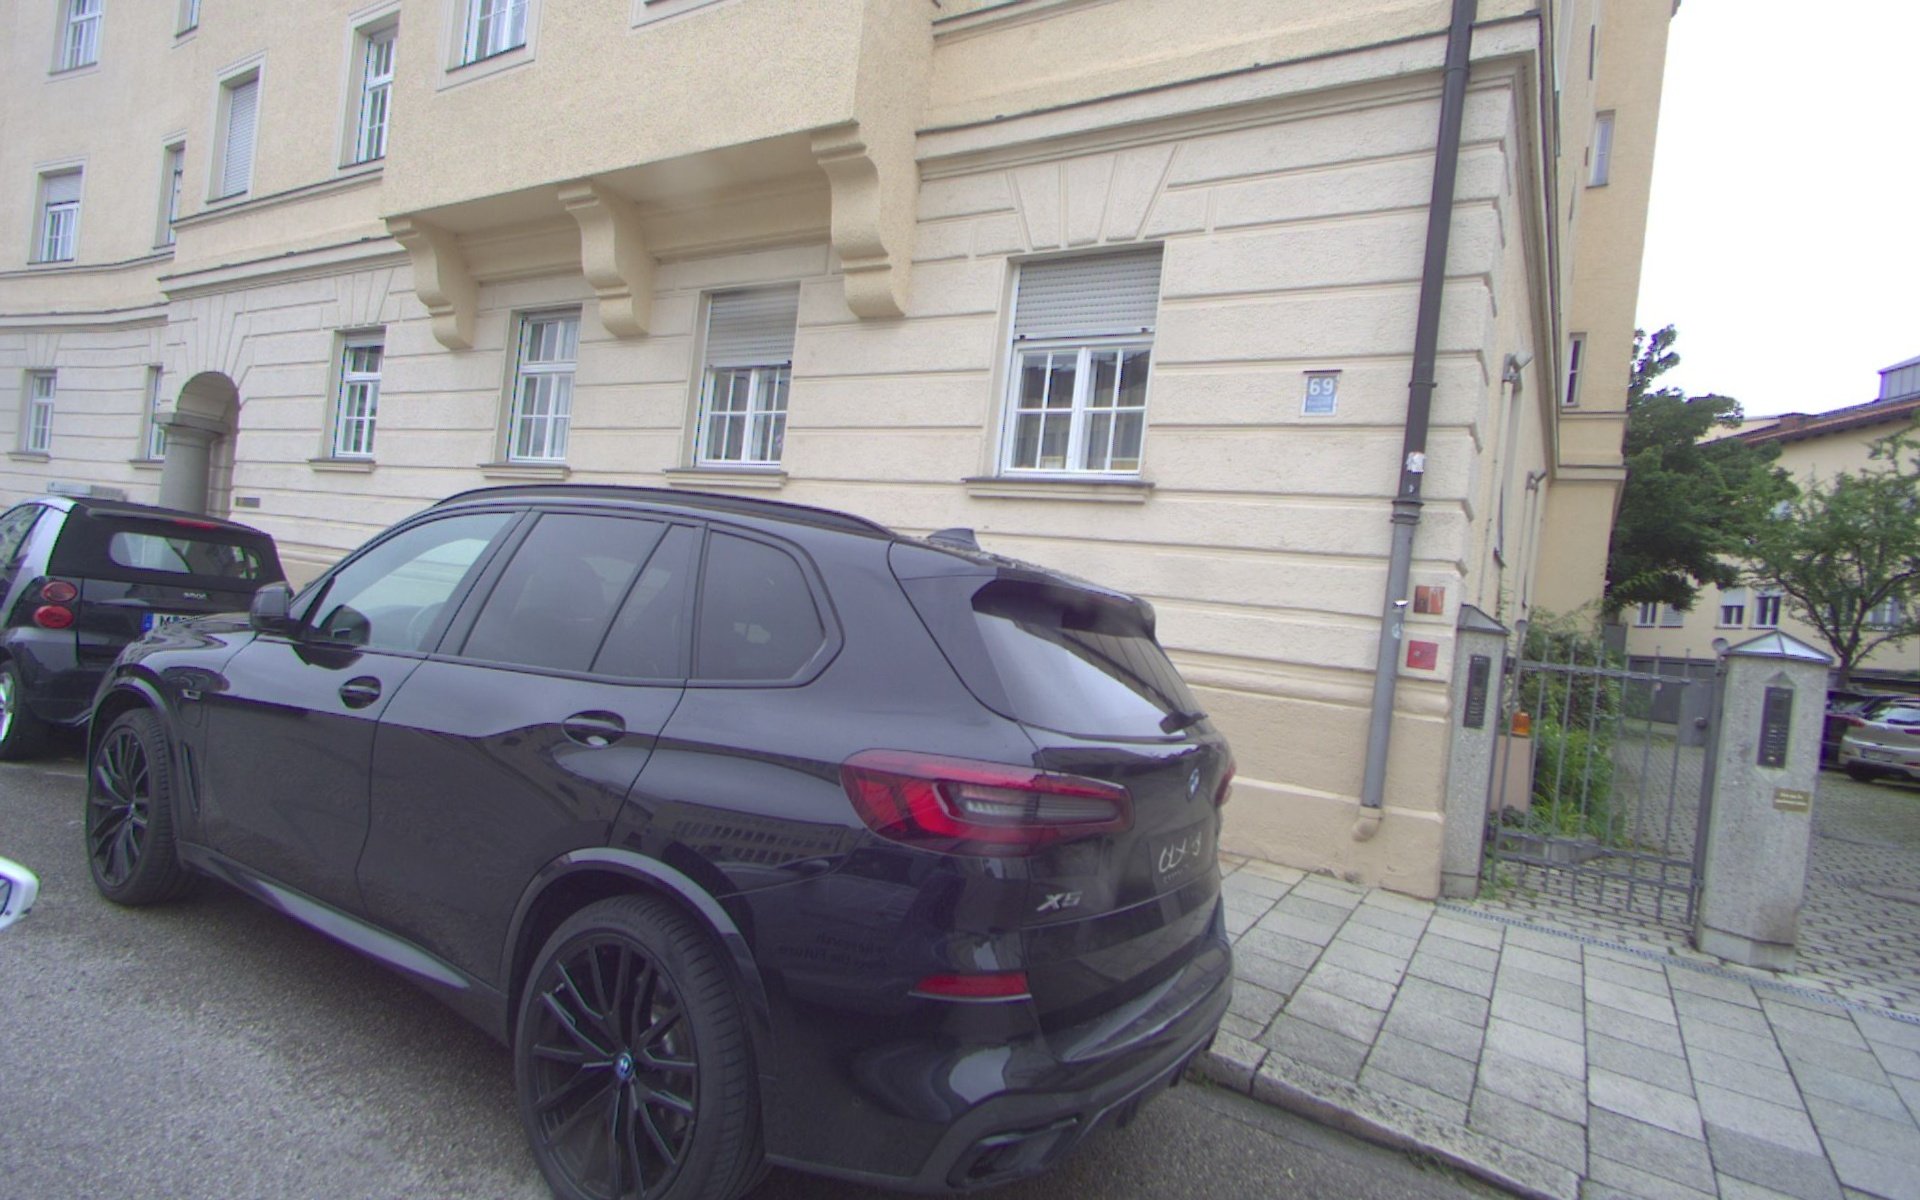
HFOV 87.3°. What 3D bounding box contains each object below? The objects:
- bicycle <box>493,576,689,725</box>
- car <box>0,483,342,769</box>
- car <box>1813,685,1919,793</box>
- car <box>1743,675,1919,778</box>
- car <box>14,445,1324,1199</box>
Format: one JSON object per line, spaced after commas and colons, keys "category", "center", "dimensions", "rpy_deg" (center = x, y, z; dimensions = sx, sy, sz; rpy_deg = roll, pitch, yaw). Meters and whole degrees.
{"category": "bicycle", "center": [-3.414, 0.424, 9.235], "dimensions": [1.921, 1.097, 0.579], "rpy_deg": [7, 3, 32]}
{"category": "car", "center": [-5.926, 0.092, 6.952], "dimensions": [3.060, 1.541, 1.537], "rpy_deg": [6, -2, 33]}
{"category": "car", "center": [17.095, 2.473, 16.879], "dimensions": [4.168, 1.534, 1.780], "rpy_deg": [6, 1, -7]}
{"category": "car", "center": [18.023, 2.521, 19.567], "dimensions": [4.168, 1.568, 1.932], "rpy_deg": [6, 1, -7]}
{"category": "car", "center": [-1.402, 0.515, 3.777], "dimensions": [4.785, 1.737, 1.872], "rpy_deg": [6, -2, 32]}
